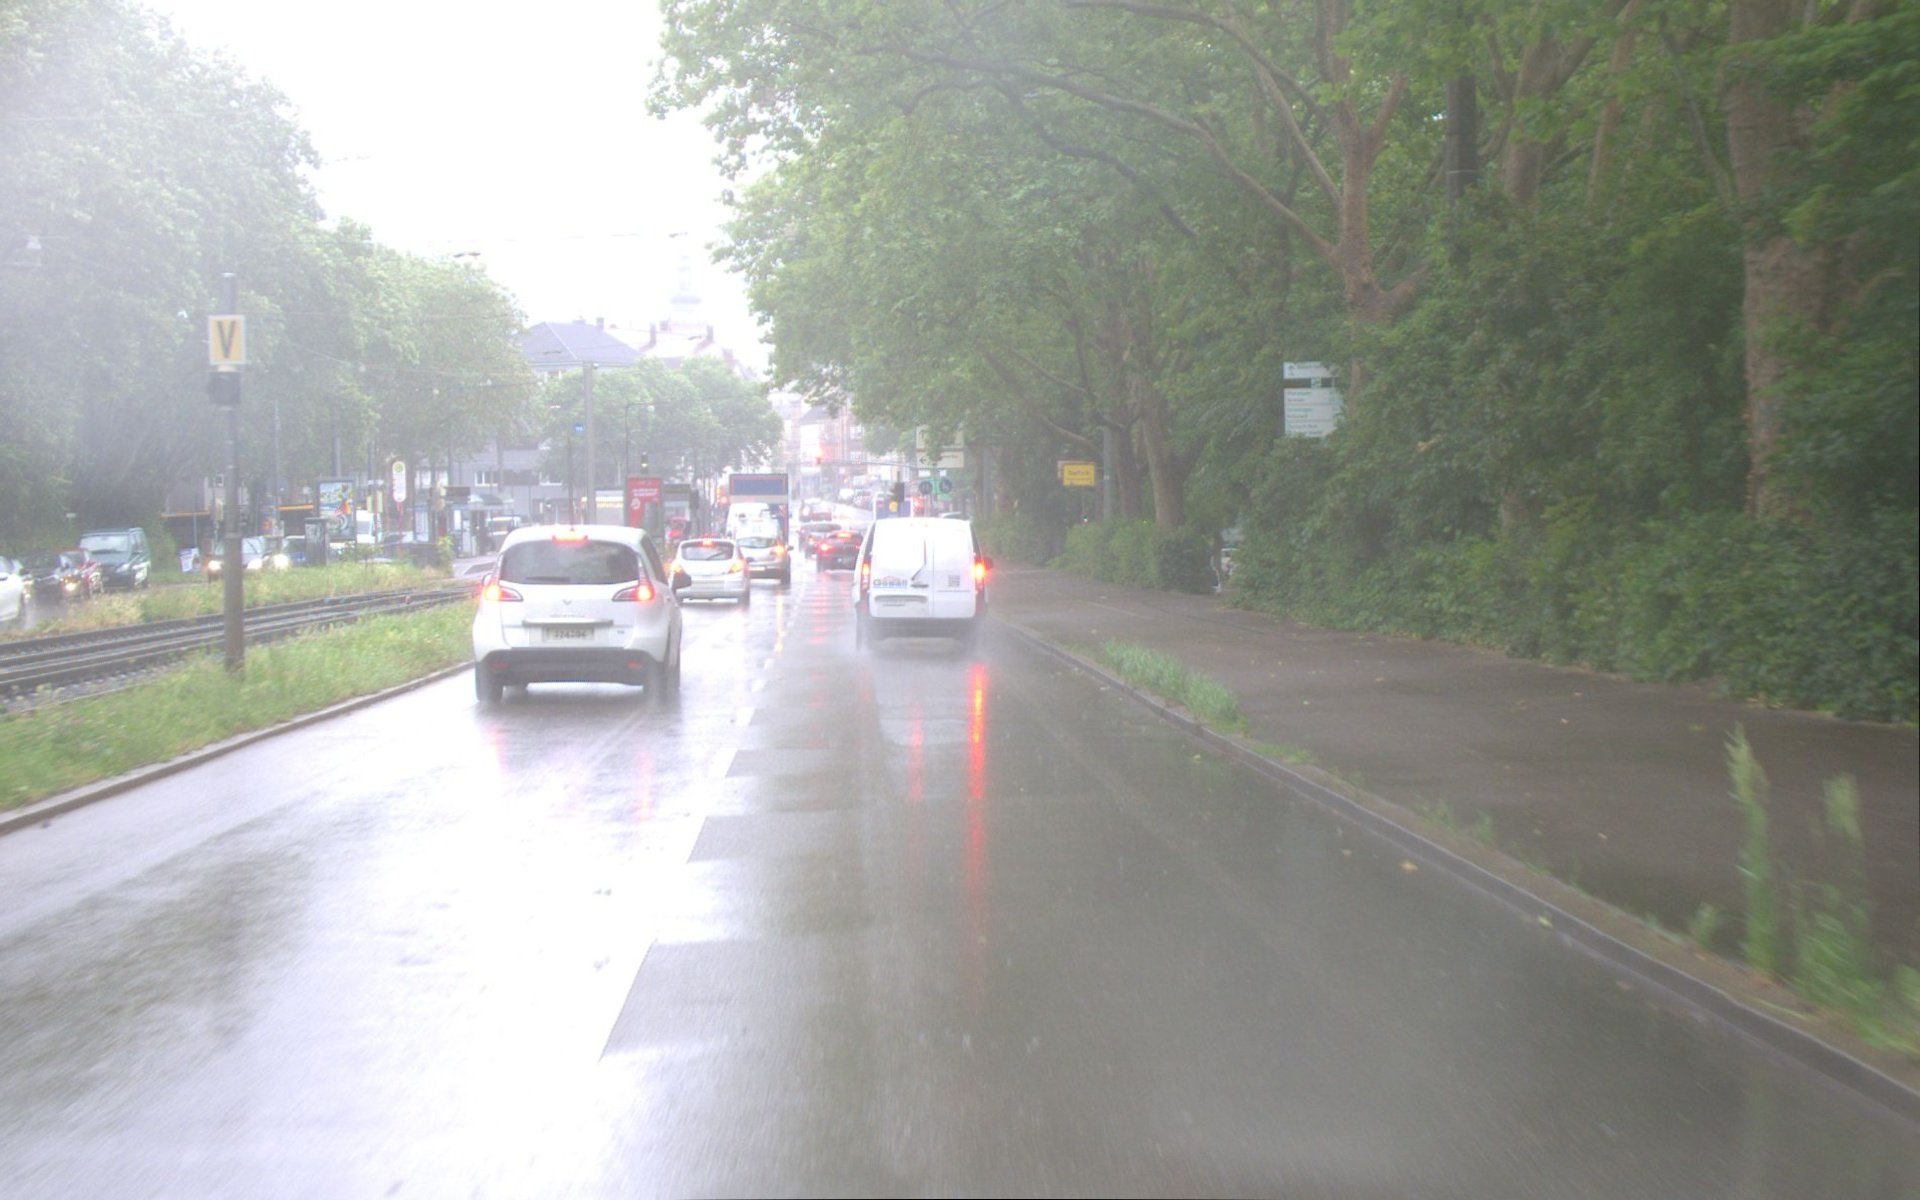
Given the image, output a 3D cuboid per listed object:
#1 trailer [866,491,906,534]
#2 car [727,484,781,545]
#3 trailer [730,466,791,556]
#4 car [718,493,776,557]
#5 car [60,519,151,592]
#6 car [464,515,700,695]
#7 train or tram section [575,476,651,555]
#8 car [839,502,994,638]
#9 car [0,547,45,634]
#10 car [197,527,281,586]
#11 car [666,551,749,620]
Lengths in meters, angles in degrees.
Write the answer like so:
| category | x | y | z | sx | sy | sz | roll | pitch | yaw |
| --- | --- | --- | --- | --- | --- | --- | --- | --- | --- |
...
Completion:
| category | x | y | z | sx | sy | sz | roll | pitch | yaw |
| --- | --- | --- | --- | --- | --- | --- | --- | --- | --- |
| trailer | -4.093 | -4.822 | 190.067 | 1.993 | 2.309 | 4.669 | 0 | 0 | -4 |
| car | -7.878 | -3.243 | 131.634 | 1.993 | 2.254 | 5.289 | 0 | 0 | -3 |
| trailer | -8.894 | -3.949 | 152.461 | 2.590 | 3.886 | 7.638 | 0 | 1 | -4 |
| car | -8.762 | -3.068 | 142.029 | 2.329 | 2.548 | 6.115 | 0 | 0 | -3 |
| car | -26.026 | -1.369 | 104.836 | 2.031 | 2.085 | 4.805 | -2 | 1 | -7 |
| car | -3.580 | 0.011 | 33.230 | 1.864 | 1.618 | 4.263 | 0 | 1 | -1 |
| train or tram section | -15.174 | -3.750 | 150.806 | 2.961 | 3.274 | 8.362 | -2 | 2 | -4 |
| car | -0.635 | -0.408 | 46.800 | 1.959 | 1.771 | 3.570 | 0 | 0 | -3 |
| car | -18.400 | -0.168 | 63.578 | 1.978 | 1.561 | 4.769 | -2 | 1 | -5 |
| car | -22.603 | -1.386 | 107.903 | 2.031 | 1.745 | 4.260 | -2 | 1 | -5 |
| car | -5.465 | -0.320 | 74.776 | 1.725 | 1.474 | 3.806 | 0 | 0 | -3 |
